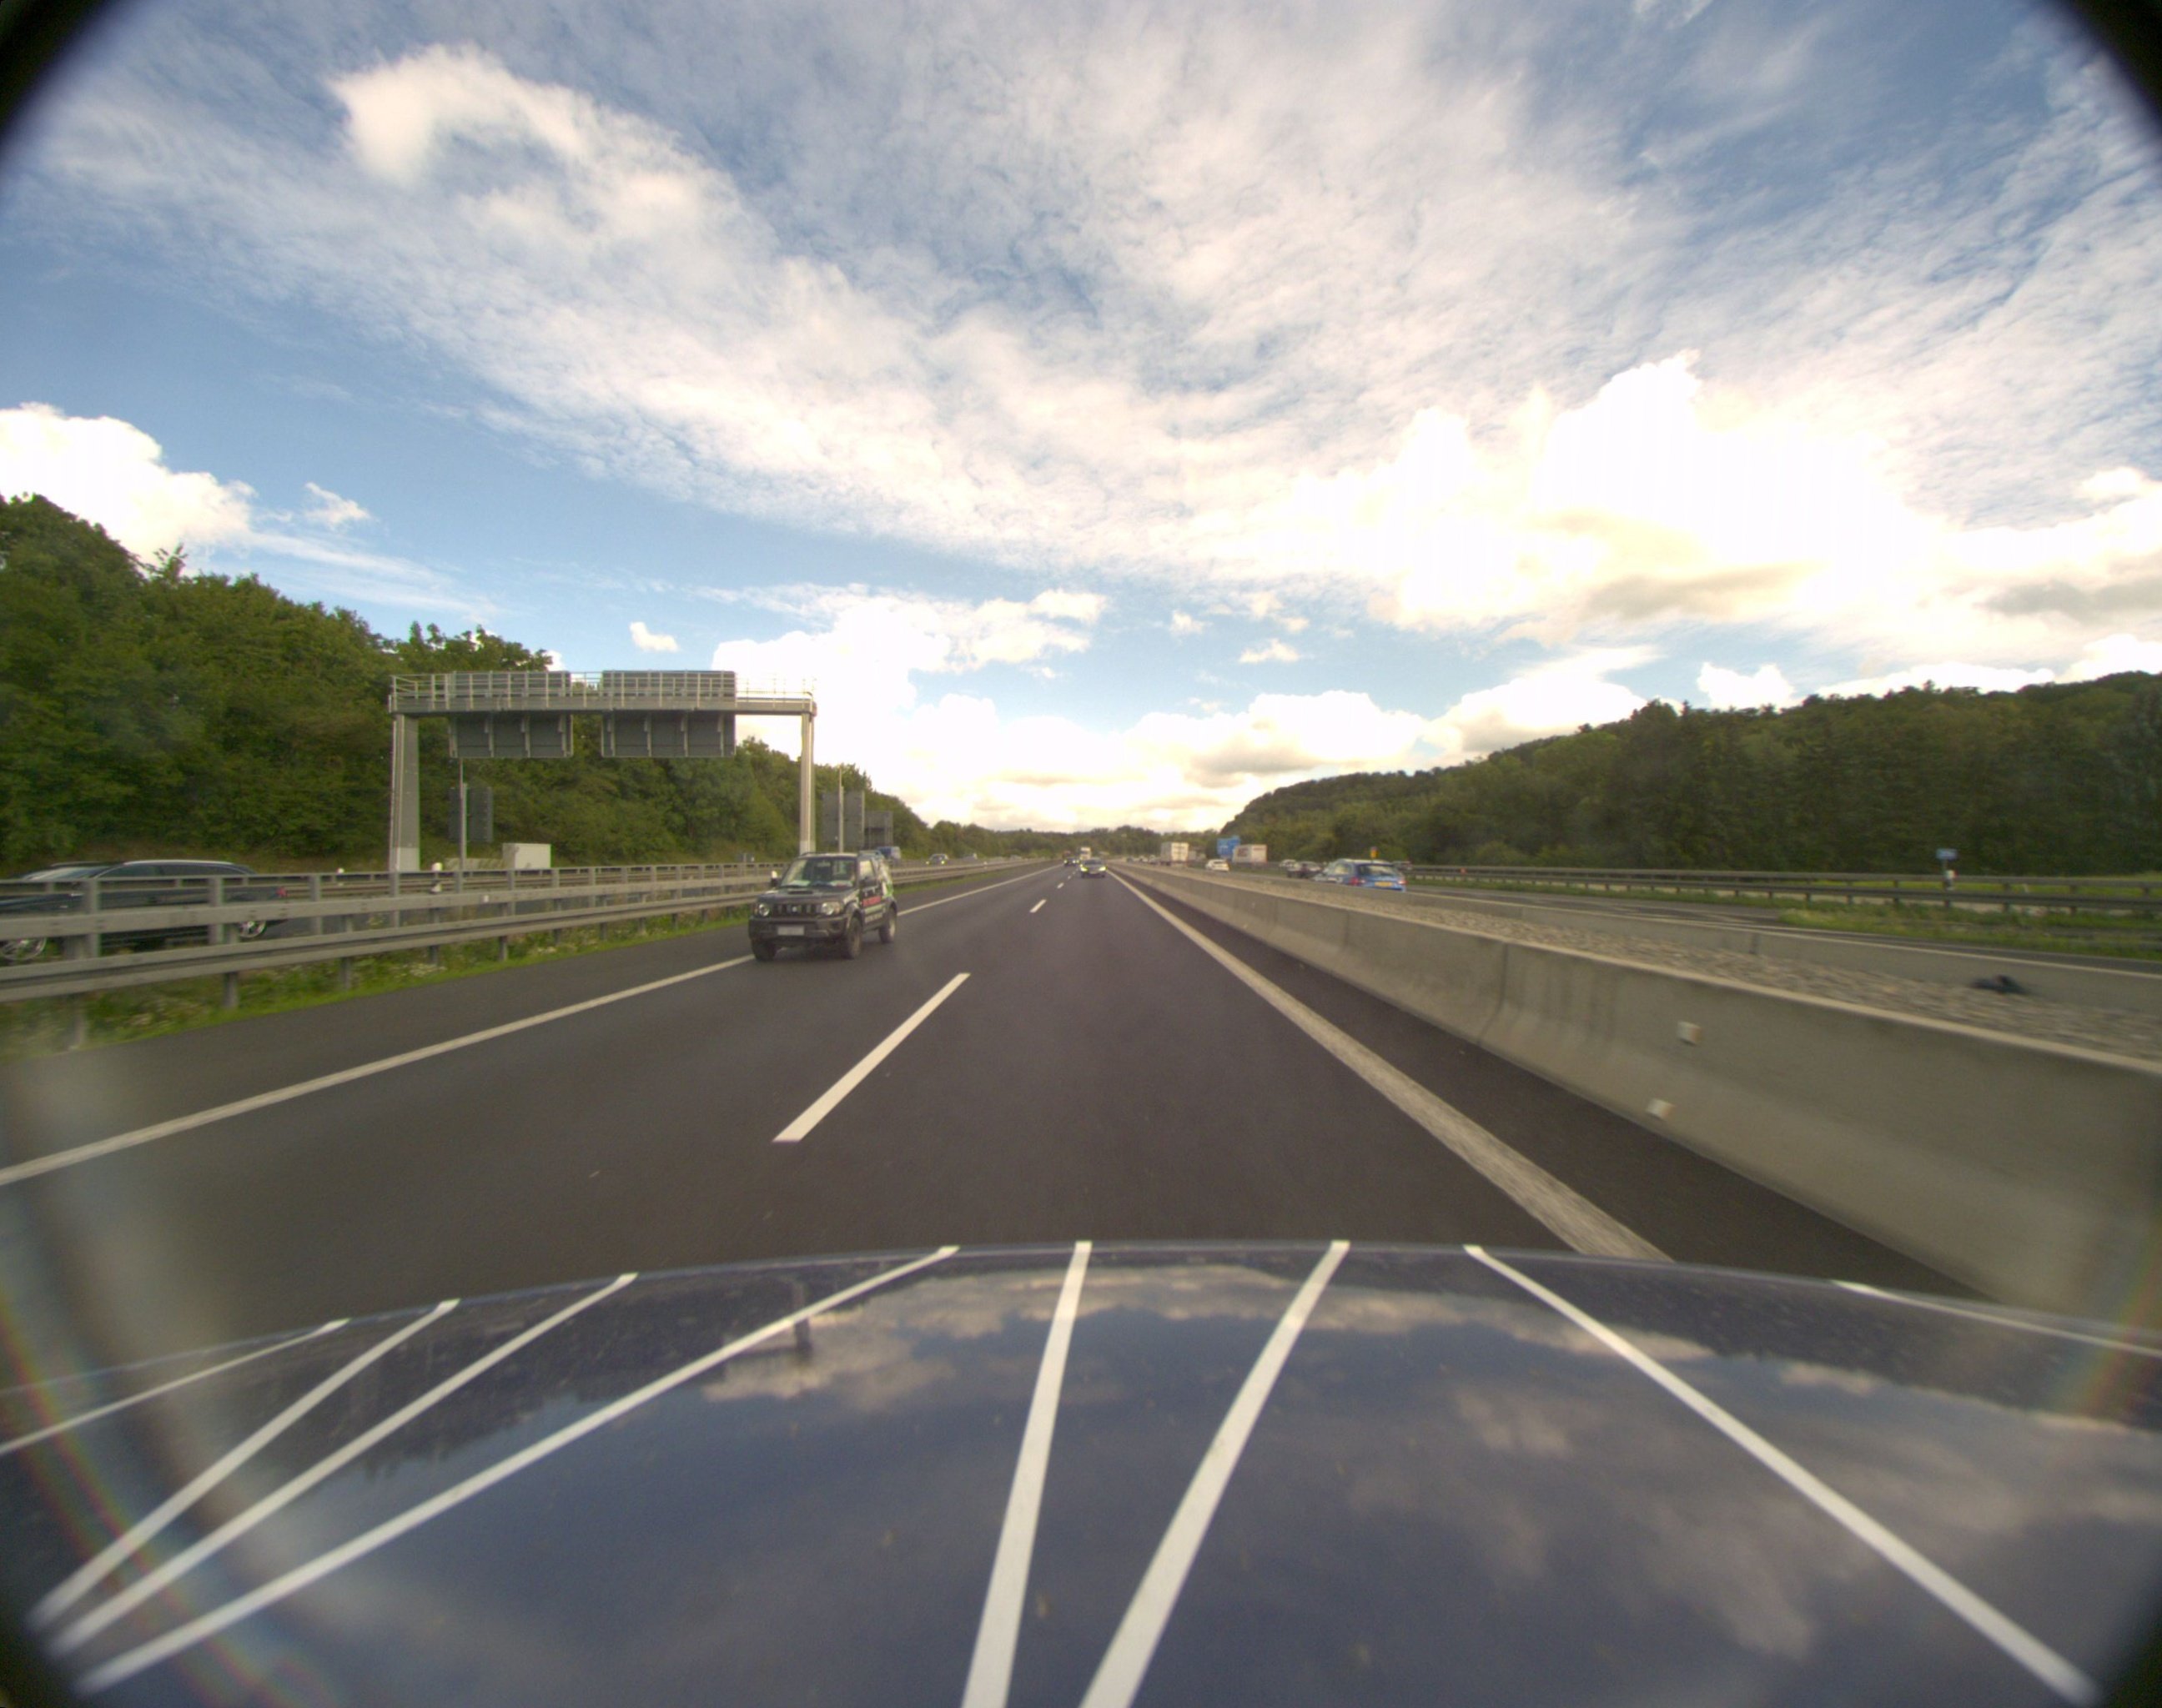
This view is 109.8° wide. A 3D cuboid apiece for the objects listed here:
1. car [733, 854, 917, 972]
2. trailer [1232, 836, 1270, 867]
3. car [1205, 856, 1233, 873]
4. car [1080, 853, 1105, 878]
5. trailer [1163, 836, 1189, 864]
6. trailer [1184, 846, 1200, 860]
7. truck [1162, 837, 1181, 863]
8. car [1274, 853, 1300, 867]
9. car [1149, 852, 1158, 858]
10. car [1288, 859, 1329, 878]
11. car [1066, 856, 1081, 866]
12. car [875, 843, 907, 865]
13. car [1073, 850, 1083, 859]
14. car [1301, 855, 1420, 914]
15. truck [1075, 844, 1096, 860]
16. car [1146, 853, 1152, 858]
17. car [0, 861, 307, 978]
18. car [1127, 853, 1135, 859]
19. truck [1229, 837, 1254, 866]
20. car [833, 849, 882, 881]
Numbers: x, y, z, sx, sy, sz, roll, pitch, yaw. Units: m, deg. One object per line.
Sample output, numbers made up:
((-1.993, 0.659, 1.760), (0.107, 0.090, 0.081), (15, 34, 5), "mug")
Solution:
((-4.271, 0.888, 13.425), (1.670, 1.722, 4.207), (0, 0, 2), "car")
((29.673, -0.400, 133.366), (3.116, 5.130, 14.716), (1, 0, -1), "trailer")
((13.755, 1.007, 75.958), (1.998, 1.608, 5.002), (1, 0, 1), "car")
((0.840, 0.833, 55.467), (1.724, 1.722, 3.939), (0, 0, 2), "car")
((14.440, -0.630, 116.669), (2.494, 4.105, 13.282), (1, 0, 1), "trailer")
((33.589, -0.225, 230.884), (3.159, 4.069, 13.386), (1, 0, 1), "trailer")
((14.560, -0.706, 122.907), (2.494, 4.105, 5.298), (1, 1, 1), "truck")
((26.000, 0.729, 96.111), (1.998, 1.608, 4.708), (1, 0, 1), "car")
((18.334, 0.330, 191.716), (1.947, 1.486, 5.306), (1, 0, 1), "car")
((19.356, 1.195, 64.938), (1.999, 1.443, 5.001), (1, 0, 0), "car")
((-1.241, 1.159, 127.630), (1.997, 1.591, 4.002), (1, 1, 6), "car")
((-19.378, -0.010, 77.722), (1.998, 2.173, 5.127), (0, 0, 0), "car")
((-0.547, 0.067, 162.299), (1.998, 2.002, 4.000), (1, 1, 1), "car")
((8.893, 0.890, 24.724), (1.932, 1.608, 5.418), (1, 0, 1), "car")
((1.489, -0.529, 217.569), (4.946, 4.306, 14.633), (1, 0, 4), "truck")
((23.106, 0.430, 259.759), (1.802, 1.621, 4.754), (1, 0, 2), "car")
((-15.162, 0.884, 11.716), (1.998, 1.476, 4.310), (0, 0, 0), "car")
((13.593, 0.521, 207.303), (1.852, 1.486, 4.972), (1, 0, 1), "car")
((29.572, -0.435, 140.053), (3.033, 5.112, 6.628), (1, 1, 0), "truck")
((-14.877, 0.713, 50.802), (1.998, 2.002, 4.000), (1, 1, 1), "car")
